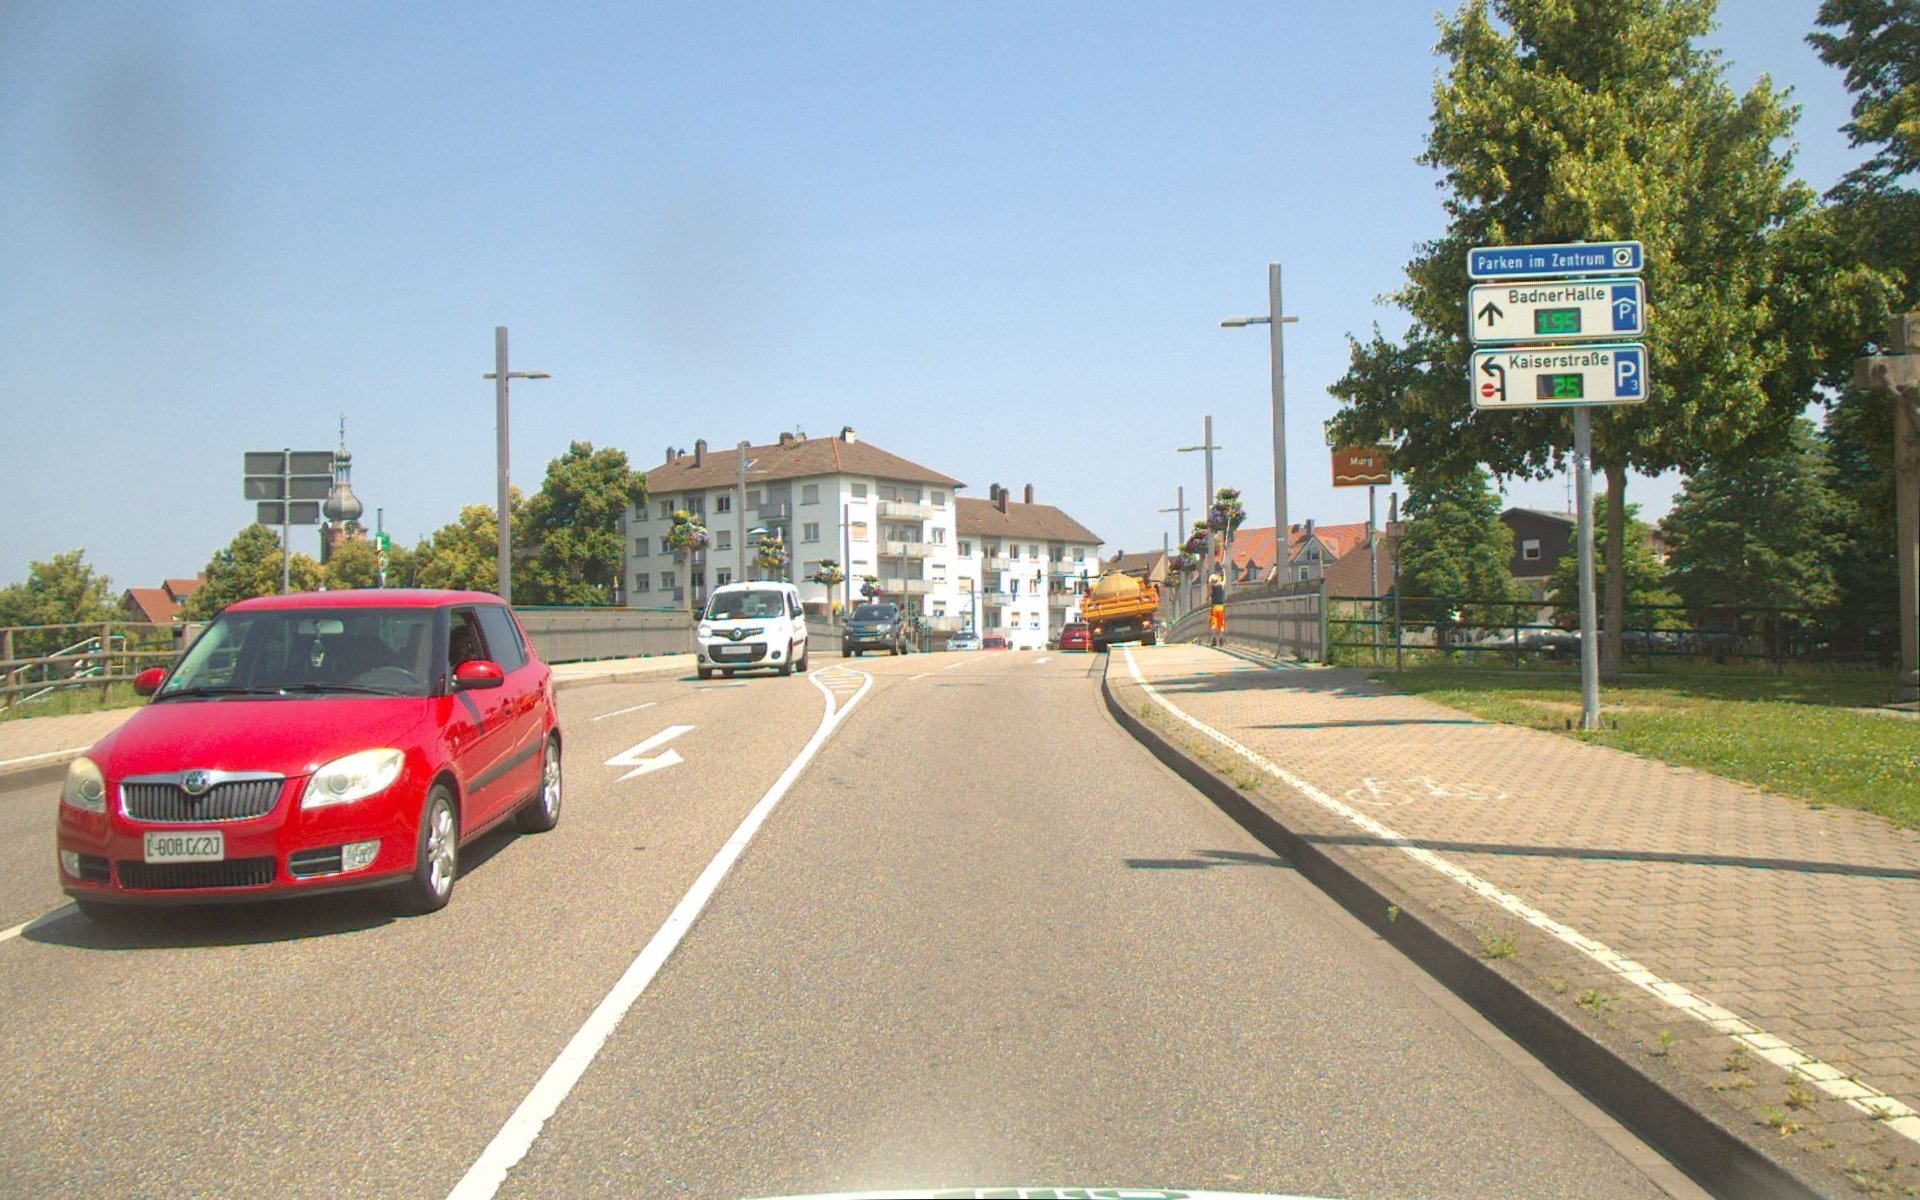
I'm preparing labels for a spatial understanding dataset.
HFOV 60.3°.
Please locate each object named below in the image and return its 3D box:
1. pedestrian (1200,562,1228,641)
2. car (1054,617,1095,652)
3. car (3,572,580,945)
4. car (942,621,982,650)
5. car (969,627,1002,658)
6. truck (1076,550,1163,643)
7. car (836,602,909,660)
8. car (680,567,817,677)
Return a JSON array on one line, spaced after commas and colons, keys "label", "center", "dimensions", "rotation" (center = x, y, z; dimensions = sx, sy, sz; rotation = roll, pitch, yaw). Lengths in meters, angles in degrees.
[{"label": "pedestrian", "center": [6.577, 0.045, 42.837], "dimensions": [0.536, 1.994, 0.672], "rotation": [-1, -2, -3]}, {"label": "car", "center": [5.685, 1.719, 82.601], "dimensions": [1.948, 1.641, 4.344], "rotation": [-2, -2, 3]}, {"label": "car", "center": [-3.178, 0.653, 8.714], "dimensions": [1.614, 1.489, 3.859], "rotation": [-1, 0, -3]}, {"label": "car", "center": [0.140, 1.886, 86.256], "dimensions": [1.662, 1.382, 4.458], "rotation": [1, -2, 5]}, {"label": "car", "center": [1.578, 2.548, 100.506], "dimensions": [1.699, 1.808, 4.179], "rotation": [-1, -1, 5]}, {"label": "truck", "center": [5.109, -0.035, 52.894], "dimensions": [2.551, 2.738, 5.826], "rotation": [-2, -1, 6]}, {"label": "car", "center": [-2.724, 0.985, 52.179], "dimensions": [1.700, 1.669, 3.923], "rotation": [-3, -1, 5]}, {"label": "car", "center": [-4.024, 0.408, 32.166], "dimensions": [1.799, 1.892, 4.664], "rotation": [-3, 0, 2]}]
